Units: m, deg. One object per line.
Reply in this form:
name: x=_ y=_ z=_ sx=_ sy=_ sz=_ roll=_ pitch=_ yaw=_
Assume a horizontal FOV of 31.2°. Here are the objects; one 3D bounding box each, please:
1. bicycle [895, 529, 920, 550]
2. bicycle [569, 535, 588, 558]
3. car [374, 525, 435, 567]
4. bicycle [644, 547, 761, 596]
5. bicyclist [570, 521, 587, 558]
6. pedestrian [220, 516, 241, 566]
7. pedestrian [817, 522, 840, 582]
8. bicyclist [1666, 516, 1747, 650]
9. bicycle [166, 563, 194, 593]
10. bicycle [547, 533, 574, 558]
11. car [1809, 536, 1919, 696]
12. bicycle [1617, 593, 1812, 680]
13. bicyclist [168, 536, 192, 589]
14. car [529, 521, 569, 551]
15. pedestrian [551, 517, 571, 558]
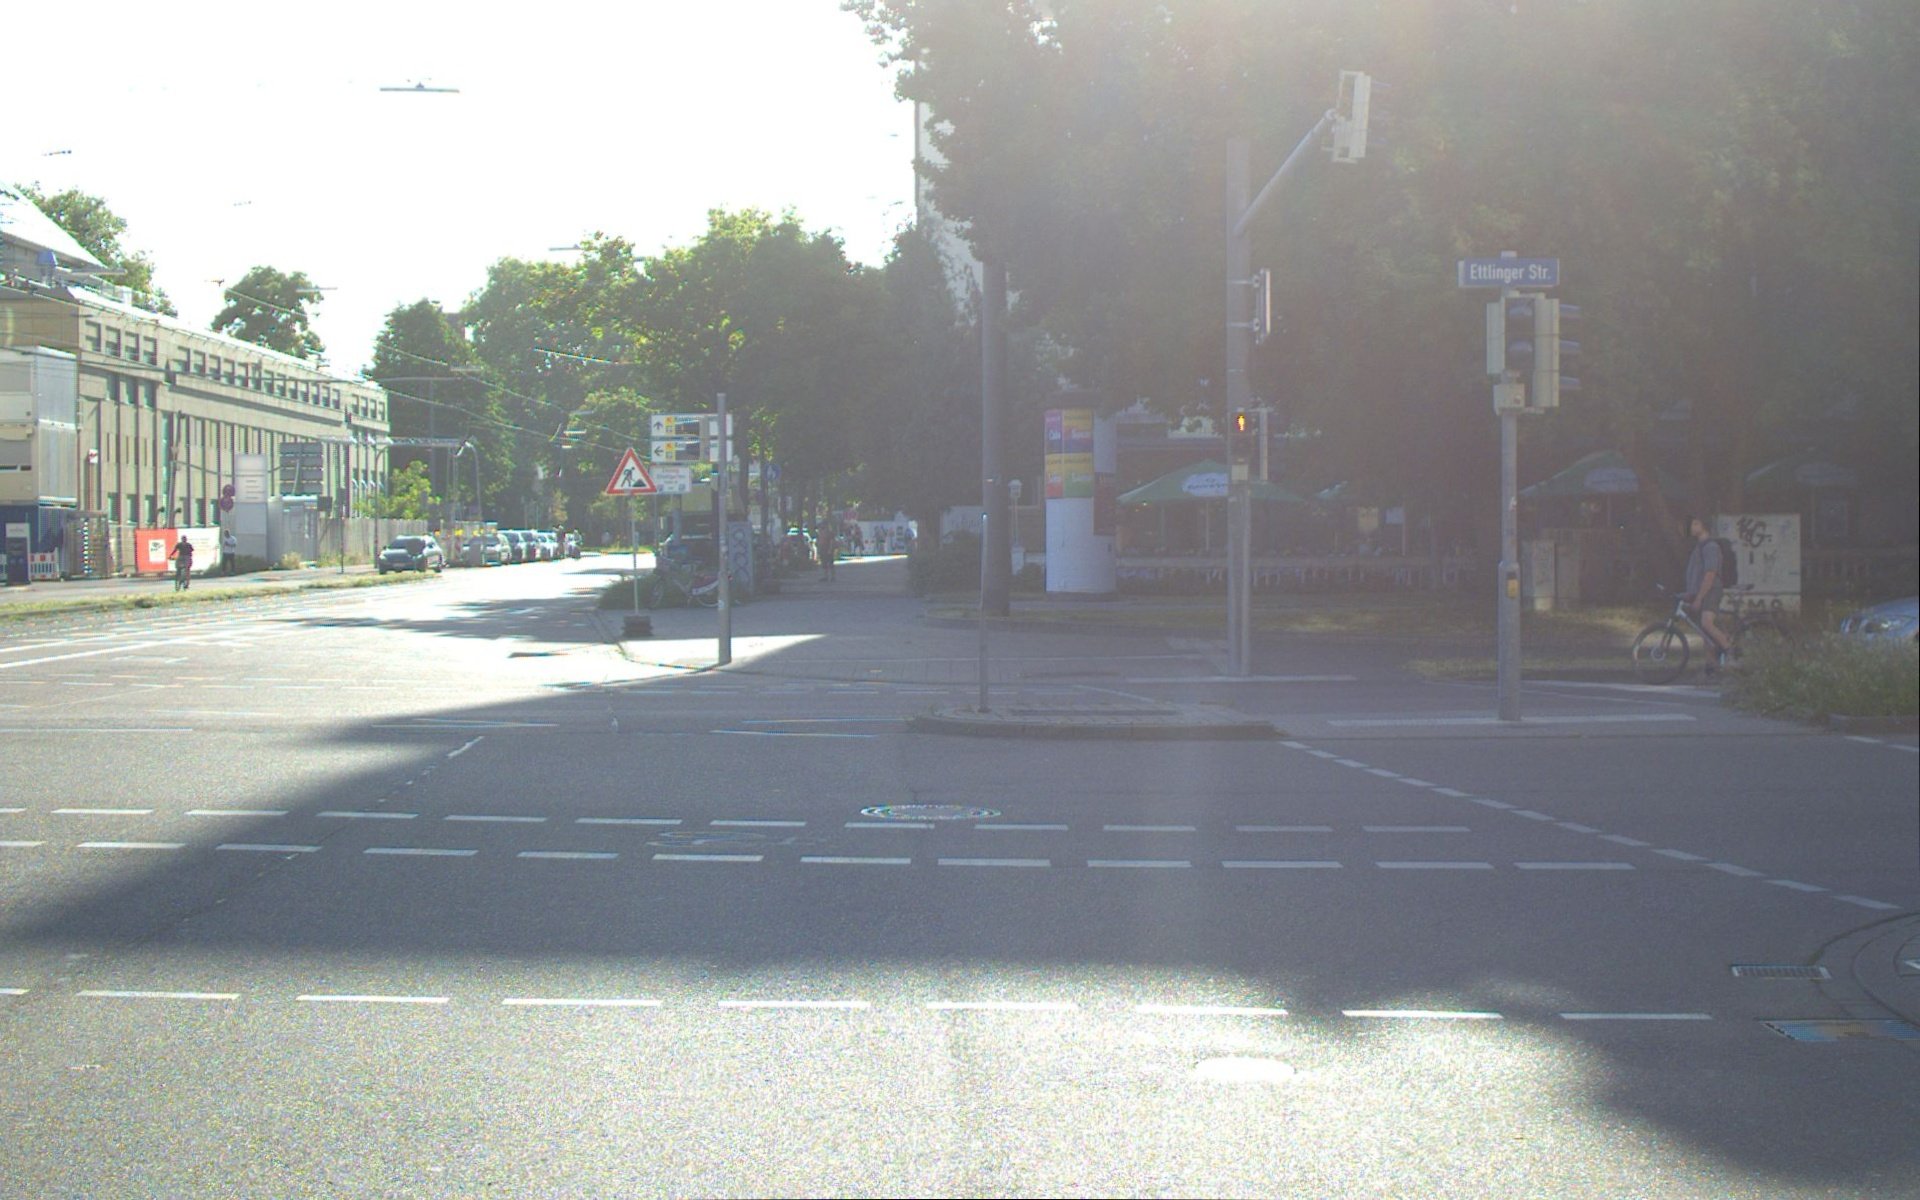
bicycle: x=-3.085 y=-3.537 z=201.513 sx=0.890 sy=1.215 sz=2.794 roll=1 pitch=1 yaw=-12
bicycle: x=-19.841 y=-2.780 z=178.857 sx=0.750 sy=1.201 sz=3.108 roll=1 pitch=1 yaw=-2
car: x=-22.088 y=-2.155 z=136.797 sx=1.993 sy=1.593 sz=4.001 roll=-1 pitch=1 yaw=-3
bicycle: x=-5.039 y=-0.558 z=67.226 sx=2.244 sy=0.937 sz=0.654 roll=-1 pitch=1 yaw=-5
bicyclist: x=-19.835 y=-3.154 z=178.734 sx=0.750 sy=1.913 sz=1.215 roll=1 pitch=0 yaw=-2
pedestrian: x=-27.557 y=-2.214 z=129.867 sx=0.588 sy=1.883 sz=0.477 roll=1 pitch=0 yaw=27
pedestrian: x=-3.744 y=-1.356 z=97.606 sx=0.576 sy=1.683 sz=0.585 roll=-1 pitch=1 yaw=-8
bicyclist: x=7.891 y=-0.180 z=36.379 sx=0.747 sy=1.401 sz=0.702 roll=1 pitch=0 yaw=6
bicycle: x=-22.424 y=-0.628 z=98.878 sx=0.494 sy=0.836 sz=1.156 roll=-1 pitch=1 yaw=2
bicycle: x=-20.172 y=-2.749 z=173.758 sx=0.751 sy=1.201 sz=3.107 roll=1 pitch=1 yaw=5
car: x=10.837 y=0.169 z=33.573 sx=4.576 sy=1.511 sz=2.000 roll=1 pitch=0 yaw=0
bicycle: x=7.973 y=0.383 z=36.380 sx=1.944 sy=0.886 sz=0.718 roll=1 pitch=0 yaw=6
bicyclist: x=-22.434 y=-1.078 z=98.869 sx=0.494 sy=1.493 sz=0.666 roll=-1 pitch=1 yaw=2
car: x=-23.249 y=-3.635 z=194.691 sx=1.993 sy=1.638 sz=4.001 roll=-1 pitch=1 yaw=-4
pedestrian: x=-20.176 y=-3.173 z=173.821 sx=0.751 sy=2.056 sz=1.050 roll=1 pitch=0 yaw=5
